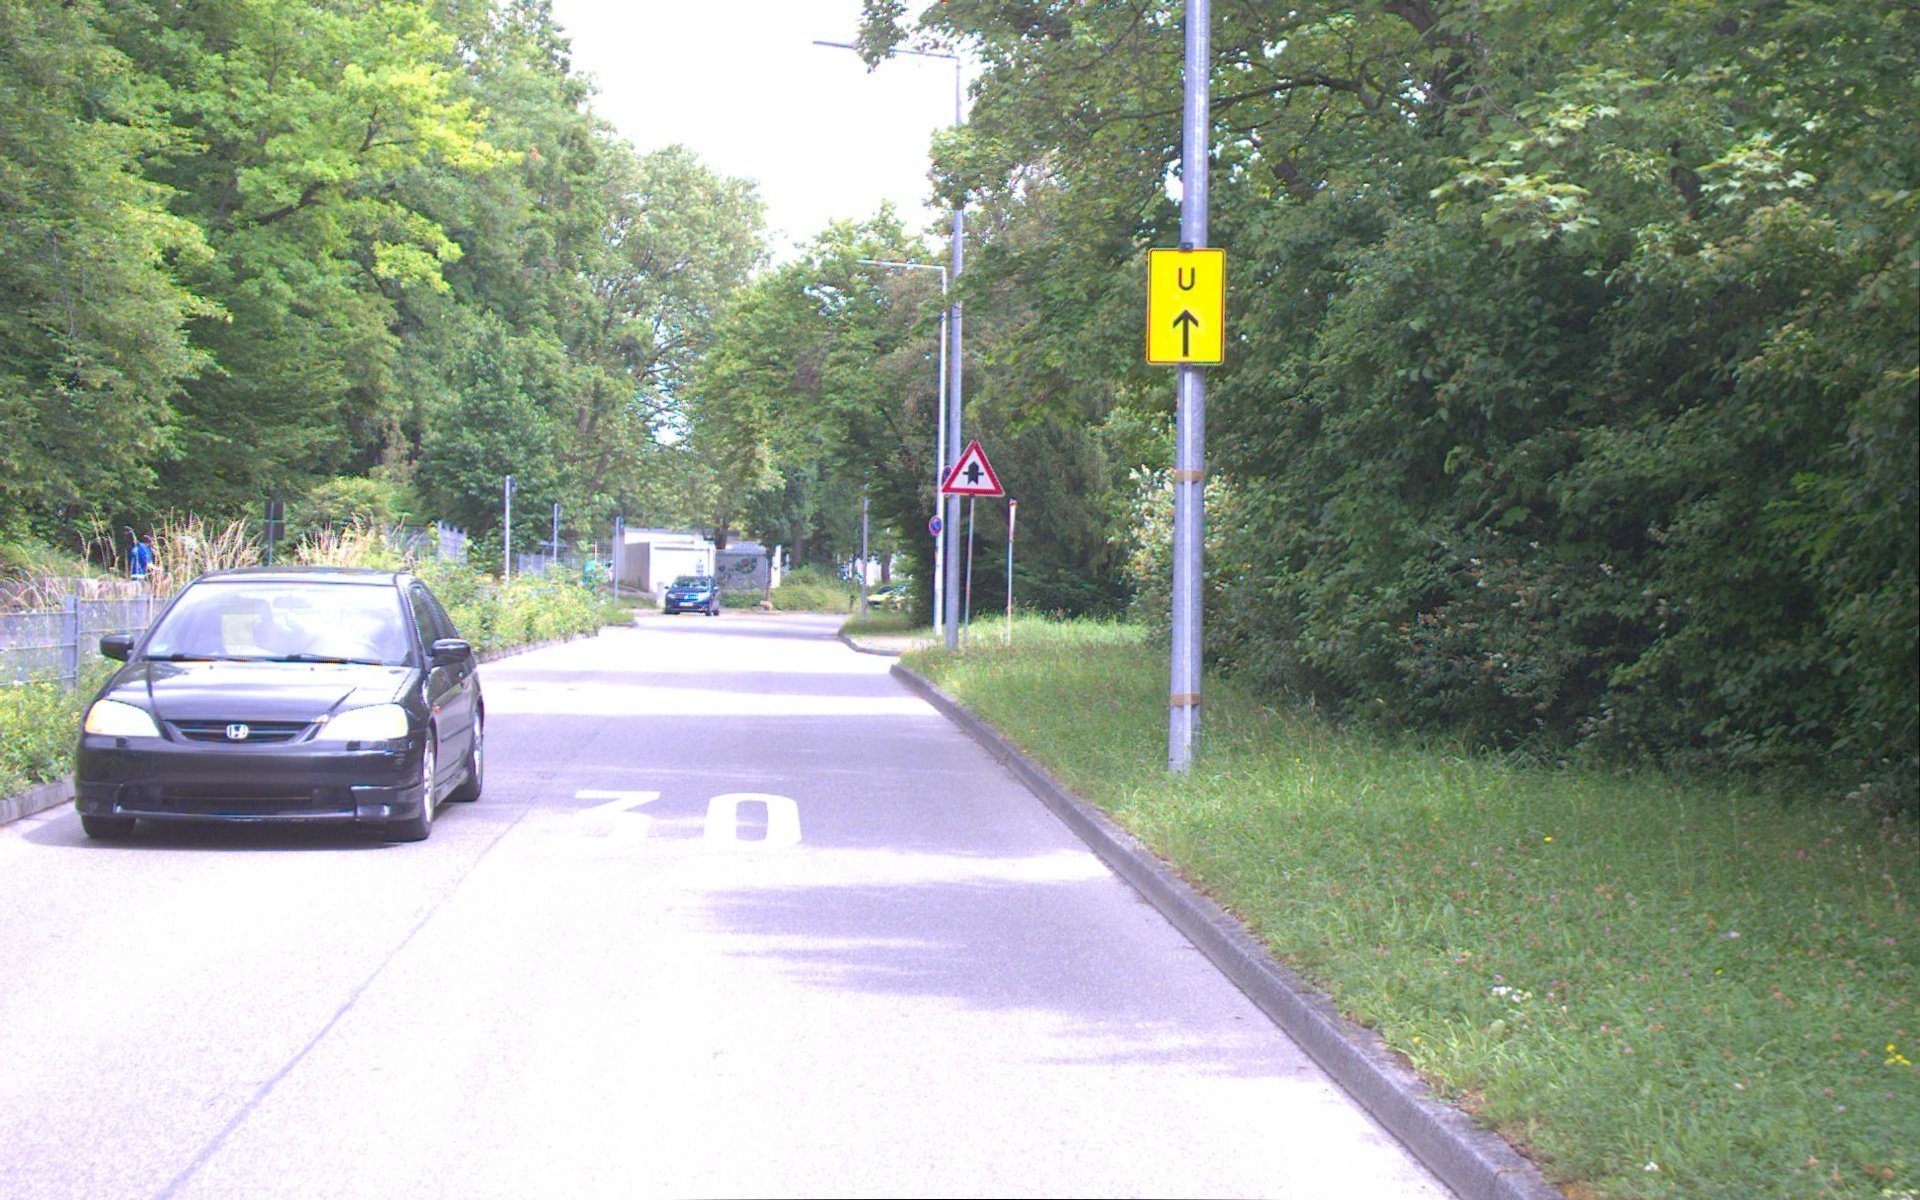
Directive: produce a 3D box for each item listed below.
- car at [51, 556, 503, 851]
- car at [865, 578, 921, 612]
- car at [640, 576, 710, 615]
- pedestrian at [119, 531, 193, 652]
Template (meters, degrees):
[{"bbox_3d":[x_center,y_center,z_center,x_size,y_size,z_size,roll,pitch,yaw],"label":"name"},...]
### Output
[{"bbox_3d":[-3.494,0.464,18.278,1.693,1.344,4.095,1,1,-2],"label":"car"},{"bbox_3d":[-3.255,-0.236,166.736,1.861,1.487,3.997,-1,-2,12],"label":"car"},{"bbox_3d":[-10.662,-0.171,128.885,1.979,1.379,3.999,2,1,5],"label":"car"},{"bbox_3d":[-13.619,-0.138,58.219,0.877,2.007,0.865,-3,-3,43],"label":"pedestrian"}]
